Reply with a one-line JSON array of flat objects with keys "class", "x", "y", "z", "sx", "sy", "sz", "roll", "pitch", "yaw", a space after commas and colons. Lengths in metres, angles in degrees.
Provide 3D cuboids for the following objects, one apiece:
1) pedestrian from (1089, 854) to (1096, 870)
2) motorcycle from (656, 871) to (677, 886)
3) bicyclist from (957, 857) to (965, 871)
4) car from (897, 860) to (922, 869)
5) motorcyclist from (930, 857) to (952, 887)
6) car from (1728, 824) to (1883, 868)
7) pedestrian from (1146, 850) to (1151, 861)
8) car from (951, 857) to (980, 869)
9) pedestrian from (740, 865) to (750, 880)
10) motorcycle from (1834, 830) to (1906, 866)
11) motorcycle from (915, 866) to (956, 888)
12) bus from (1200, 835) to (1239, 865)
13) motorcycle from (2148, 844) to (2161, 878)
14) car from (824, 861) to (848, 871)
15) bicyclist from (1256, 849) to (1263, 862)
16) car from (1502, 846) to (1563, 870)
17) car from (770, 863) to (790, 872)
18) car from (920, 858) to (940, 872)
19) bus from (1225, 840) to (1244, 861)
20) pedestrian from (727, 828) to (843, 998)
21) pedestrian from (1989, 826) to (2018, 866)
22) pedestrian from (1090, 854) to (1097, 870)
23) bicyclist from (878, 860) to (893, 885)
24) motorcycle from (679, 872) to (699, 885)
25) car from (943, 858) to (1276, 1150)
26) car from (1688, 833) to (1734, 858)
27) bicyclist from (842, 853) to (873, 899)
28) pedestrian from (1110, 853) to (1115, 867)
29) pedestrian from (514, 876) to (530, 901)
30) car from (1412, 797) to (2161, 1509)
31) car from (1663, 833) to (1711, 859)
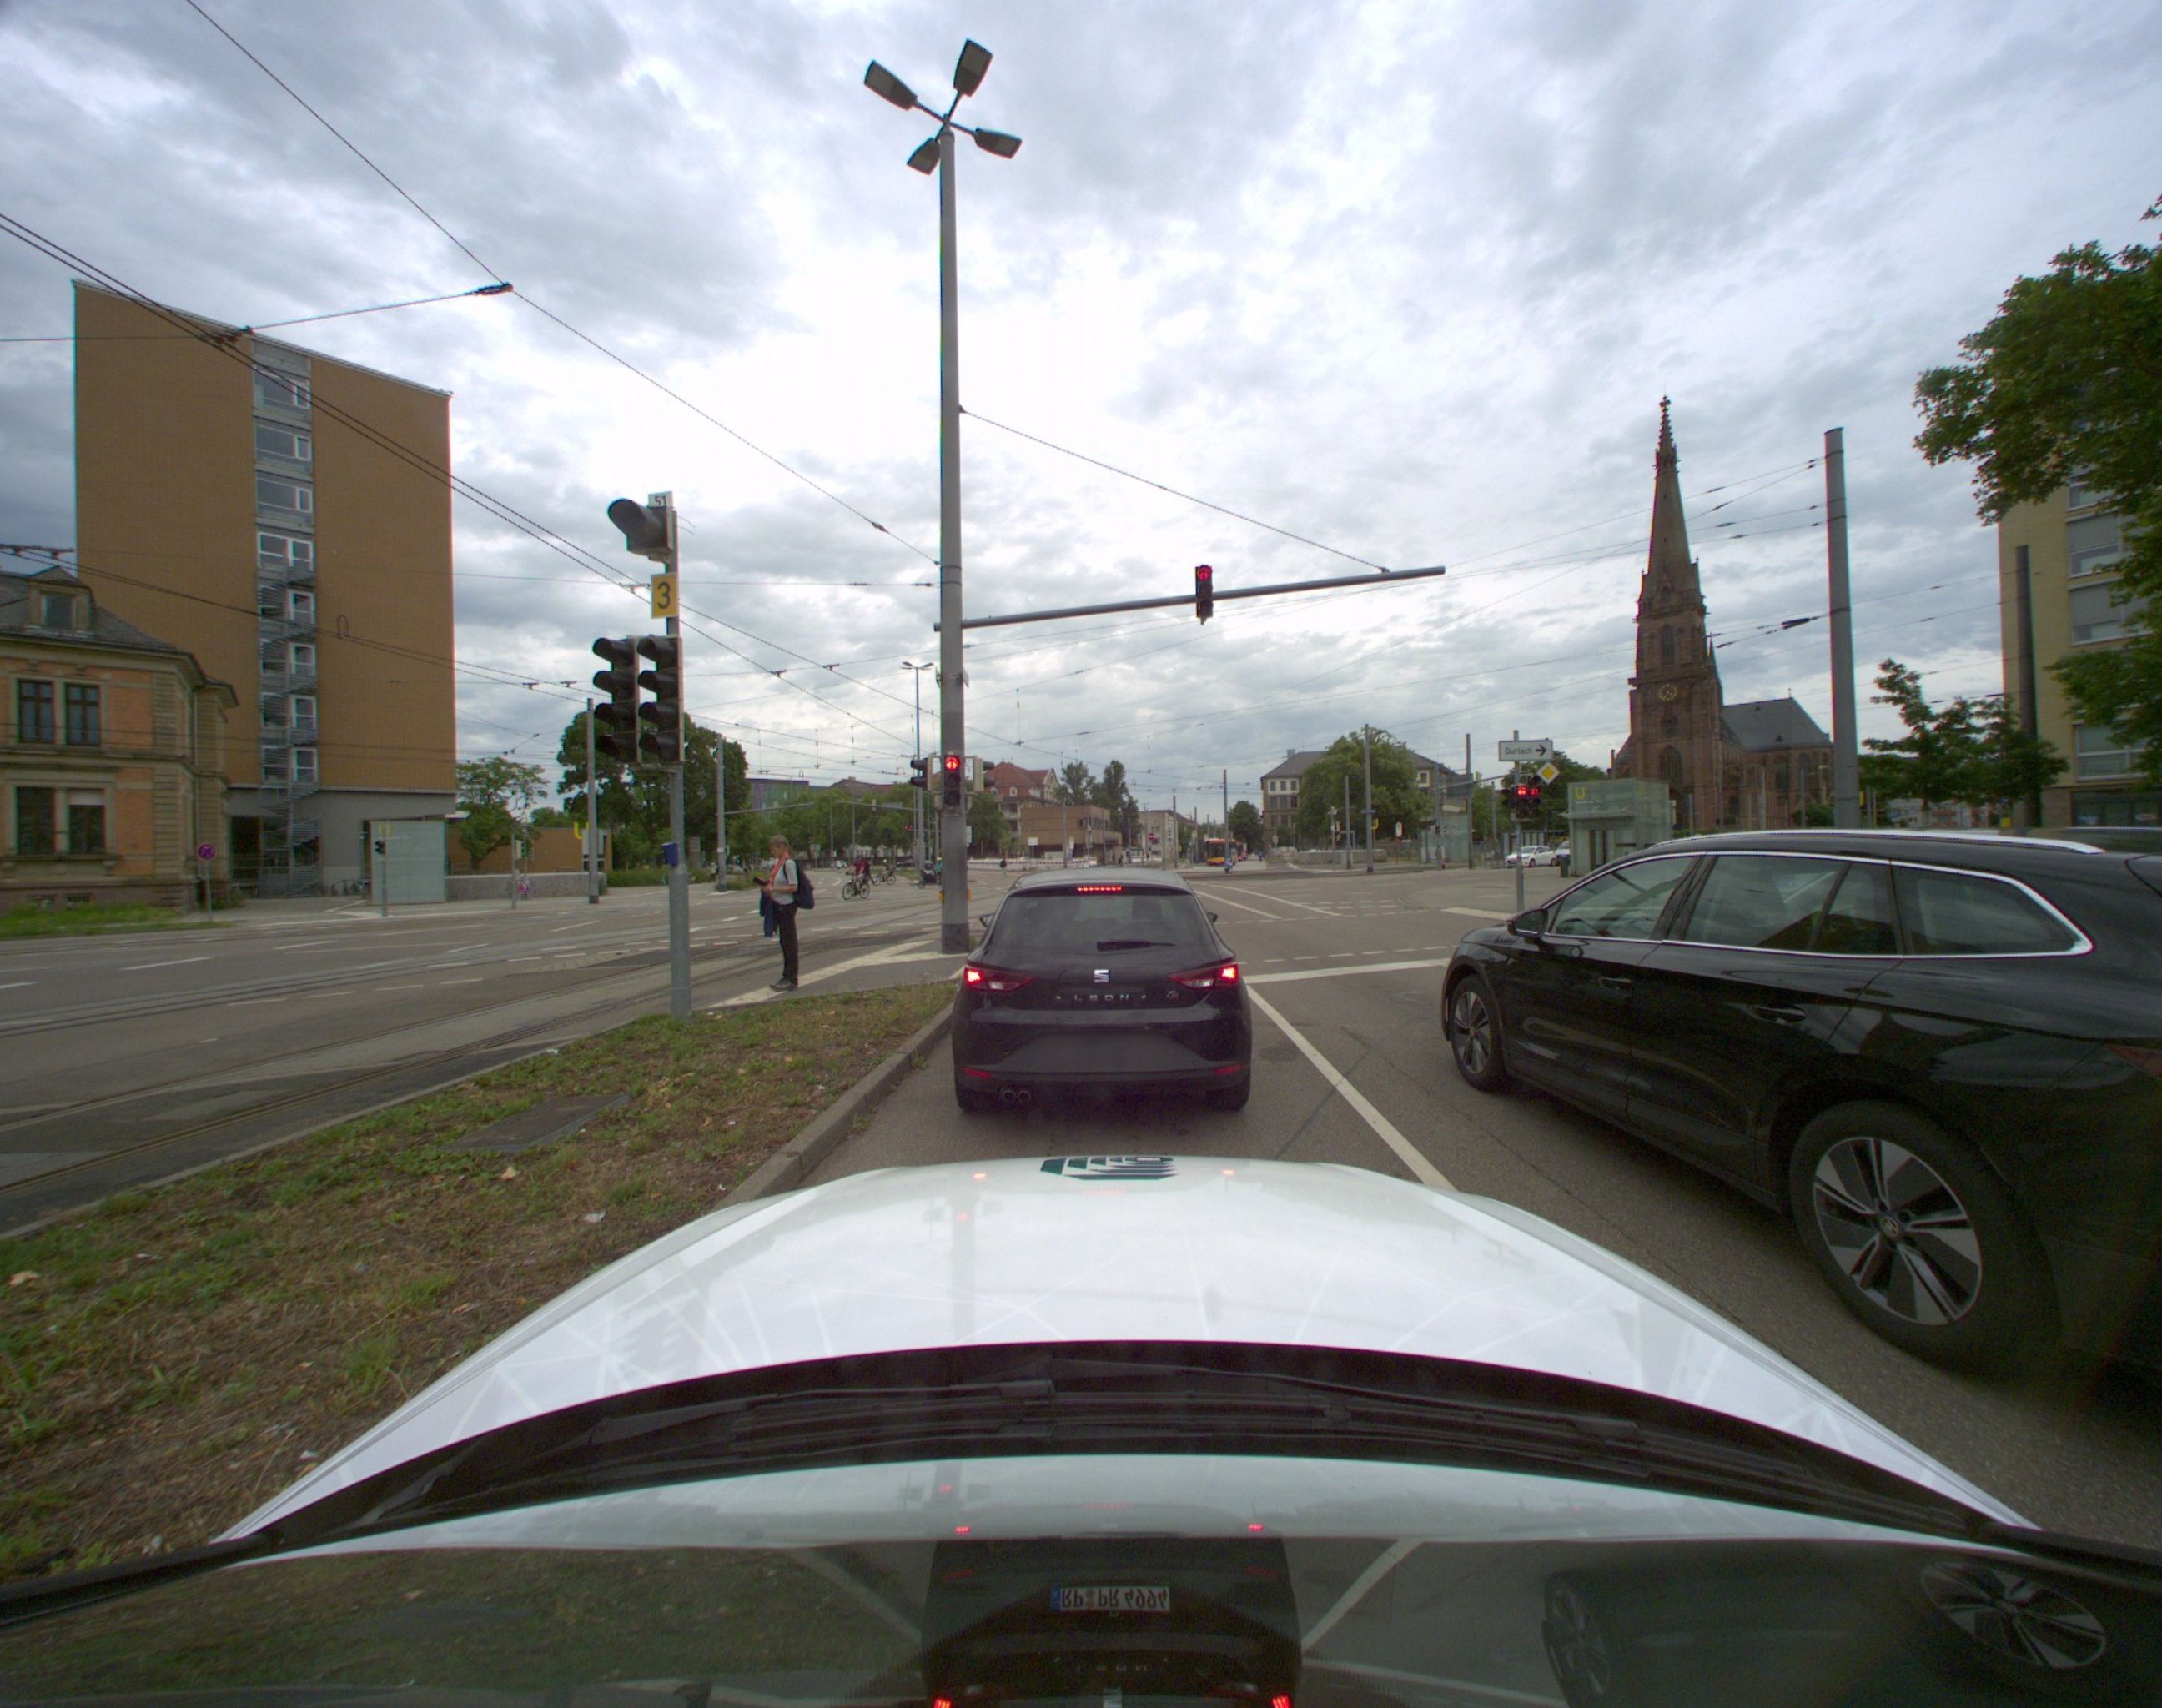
[{"class": "pedestrian", "x": 1.345, "y": 0.939, "z": 96.739, "sx": 0.704, "sy": 1.918, "sz": 0.625, "roll": -2, "pitch": 0, "yaw": 9}, {"class": "motorcycle", "x": -35.449, "y": 2.080, "z": 69.610, "sx": 1.481, "sy": 1.268, "sz": 0.505, "roll": -1, "pitch": 0, "yaw": -44}, {"class": "bicyclist", "x": -15.986, "y": 1.329, "z": 108.629, "sx": 0.886, "sy": 1.732, "sz": 0.888, "roll": -1, "pitch": 0, "yaw": -20}, {"class": "car", "x": -29.620, "y": 1.820, "z": 140.841, "sx": 3.986, "sy": 1.464, "sz": 1.776, "roll": -1, "pitch": 0, "yaw": -9}, {"class": "motorcyclist", "x": -7.969, "y": 1.040, "z": 46.448, "sx": 0.984, "sy": 1.649, "sz": 0.742, "roll": -1, "pitch": -1, "yaw": -31}, {"class": "car", "x": 37.656, "y": -0.389, "z": 42.529, "sx": 5.672, "sy": 2.014, "sz": 2.038, "roll": -2, "pitch": -2, "yaw": 19}, {"class": "pedestrian", "x": 11.350, "y": 0.289, "z": 137.522, "sx": 0.615, "sy": 1.918, "sz": 0.715, "roll": -3, "pitch": -2, "yaw": 27}, {"class": "car", "x": -17.475, "y": 1.355, "z": 123.663, "sx": 3.970, "sy": 1.684, "sz": 2.001, "roll": -2, "pitch": -1, "yaw": 3}, {"class": "pedestrian", "x": -43.900, "y": 2.422, "z": 106.321, "sx": 0.875, "sy": 1.981, "sz": 0.796, "roll": -2, "pitch": -2, "yaw": 1}, {"class": "motorcycle", "x": 26.949, "y": -0.207, "z": 27.823, "sx": 2.386, "sy": 1.168, "sz": 0.762, "roll": -1, "pitch": 0, "yaw": -19}, {"class": "motorcycle", "x": -8.250, "y": 1.301, "z": 46.251, "sx": 2.149, "sy": 1.139, "sz": 0.737, "roll": -1, "pitch": 0, "yaw": -31}, {"class": "bus", "x": 15.961, "y": -0.429, "z": 93.284, "sx": 2.938, "sy": 3.123, "sz": 11.589, "roll": -2, "pitch": 0, "yaw": 16}, {"class": "motorcycle", "x": 31.983, "y": 0.196, "z": 23.790, "sx": 1.020, "sy": 0.997, "sz": 0.863, "roll": -1, "pitch": 0, "yaw": -43}, {"class": "car", "x": -44.482, "y": 2.148, "z": 147.737, "sx": 3.950, "sy": 1.772, "sz": 1.726, "roll": -2, "pitch": 0, "yaw": 27}, {"class": "bicyclist", "x": 25.647, "y": 0.209, "z": 117.009, "sx": 0.865, "sy": 1.851, "sz": 1.052, "roll": -2, "pitch": 0, "yaw": 14}, {"class": "car", "x": 30.403, "y": 0.273, "z": 54.844, "sx": 4.011, "sy": 1.464, "sz": 1.758, "roll": -1, "pitch": -2, "yaw": -30}, {"class": "car", "x": -53.611, "y": 2.389, "z": 144.923, "sx": 1.792, "sy": 1.464, "sz": 3.950, "roll": -1, "pitch": 0, "yaw": -45}, {"class": "car", "x": -19.573, "y": 1.379, "z": 105.432, "sx": 2.000, "sy": 1.684, "sz": 3.973, "roll": -1, "pitch": -1, "yaw": -20}, {"class": "bus", "x": 25.727, "y": -0.590, "z": 136.295, "sx": 2.635, "sy": 3.283, "sz": 11.034, "roll": -2, "pitch": 0, "yaw": 13}, {"class": "pedestrian", "x": -3.549, "y": 0.667, "z": 9.781, "sx": 1.110, "sy": 1.907, "sz": 0.727, "roll": 0, "pitch": -1, "yaw": -41}, {"class": "pedestrian", "x": 38.236, "y": -0.315, "z": 33.753, "sx": 0.875, "sy": 1.638, "sz": 0.631, "roll": -1, "pitch": 0, "yaw": -32}, {"class": "pedestrian", "x": 1.502, "y": 0.952, "z": 97.532, "sx": 0.704, "sy": 1.918, "sz": 0.625, "roll": -2, "pitch": 0, "yaw": 9}, {"class": "bicyclist", "x": -13.593, "y": 1.293, "z": 56.651, "sx": 0.859, "sy": 1.673, "sz": 0.648, "roll": -1, "pitch": 0, "yaw": -30}, {"class": "motorcycle", "x": -34.422, "y": 2.164, "z": 71.514, "sx": 0.506, "sy": 1.111, "sz": 1.751, "roll": -2, "pitch": 0, "yaw": 15}, {"class": "car", "x": 0.089, "y": 0.775, "z": 6.118, "sx": 1.700, "sy": 1.449, "sz": 3.809, "roll": -1, "pitch": 0, "yaw": -2}, {"class": "car", "x": 53.567, "y": -0.721, "z": 69.203, "sx": 4.017, "sy": 2.013, "sz": 1.978, "roll": -1, "pitch": 0, "yaw": -36}, {"class": "bicyclist", "x": -9.577, "y": 0.932, "z": 34.911, "sx": 0.768, "sy": 1.898, "sz": 1.003, "roll": -2, "pitch": 0, "yaw": 30}, {"class": "pedestrian", "x": 4.433, "y": 0.860, "z": 113.859, "sx": 0.618, "sy": 1.918, "sz": 0.711, "roll": -2, "pitch": 0, "yaw": 5}, {"class": "pedestrian", "x": -30.696, "y": 1.911, "z": 44.729, "sx": 0.492, "sy": 1.336, "sz": 0.577, "roll": -2, "pitch": -1, "yaw": 41}, {"class": "car", "x": 3.322, "y": 0.654, "z": 3.781, "sx": 1.771, "sy": 1.597, "sz": 4.510, "roll": -1, "pitch": 0, "yaw": 1}, {"class": "car", "x": 49.704, "y": -0.629, "z": 66.765, "sx": 4.017, "sy": 2.013, "sz": 1.978, "roll": -1, "pitch": 0, "yaw": -36}]
